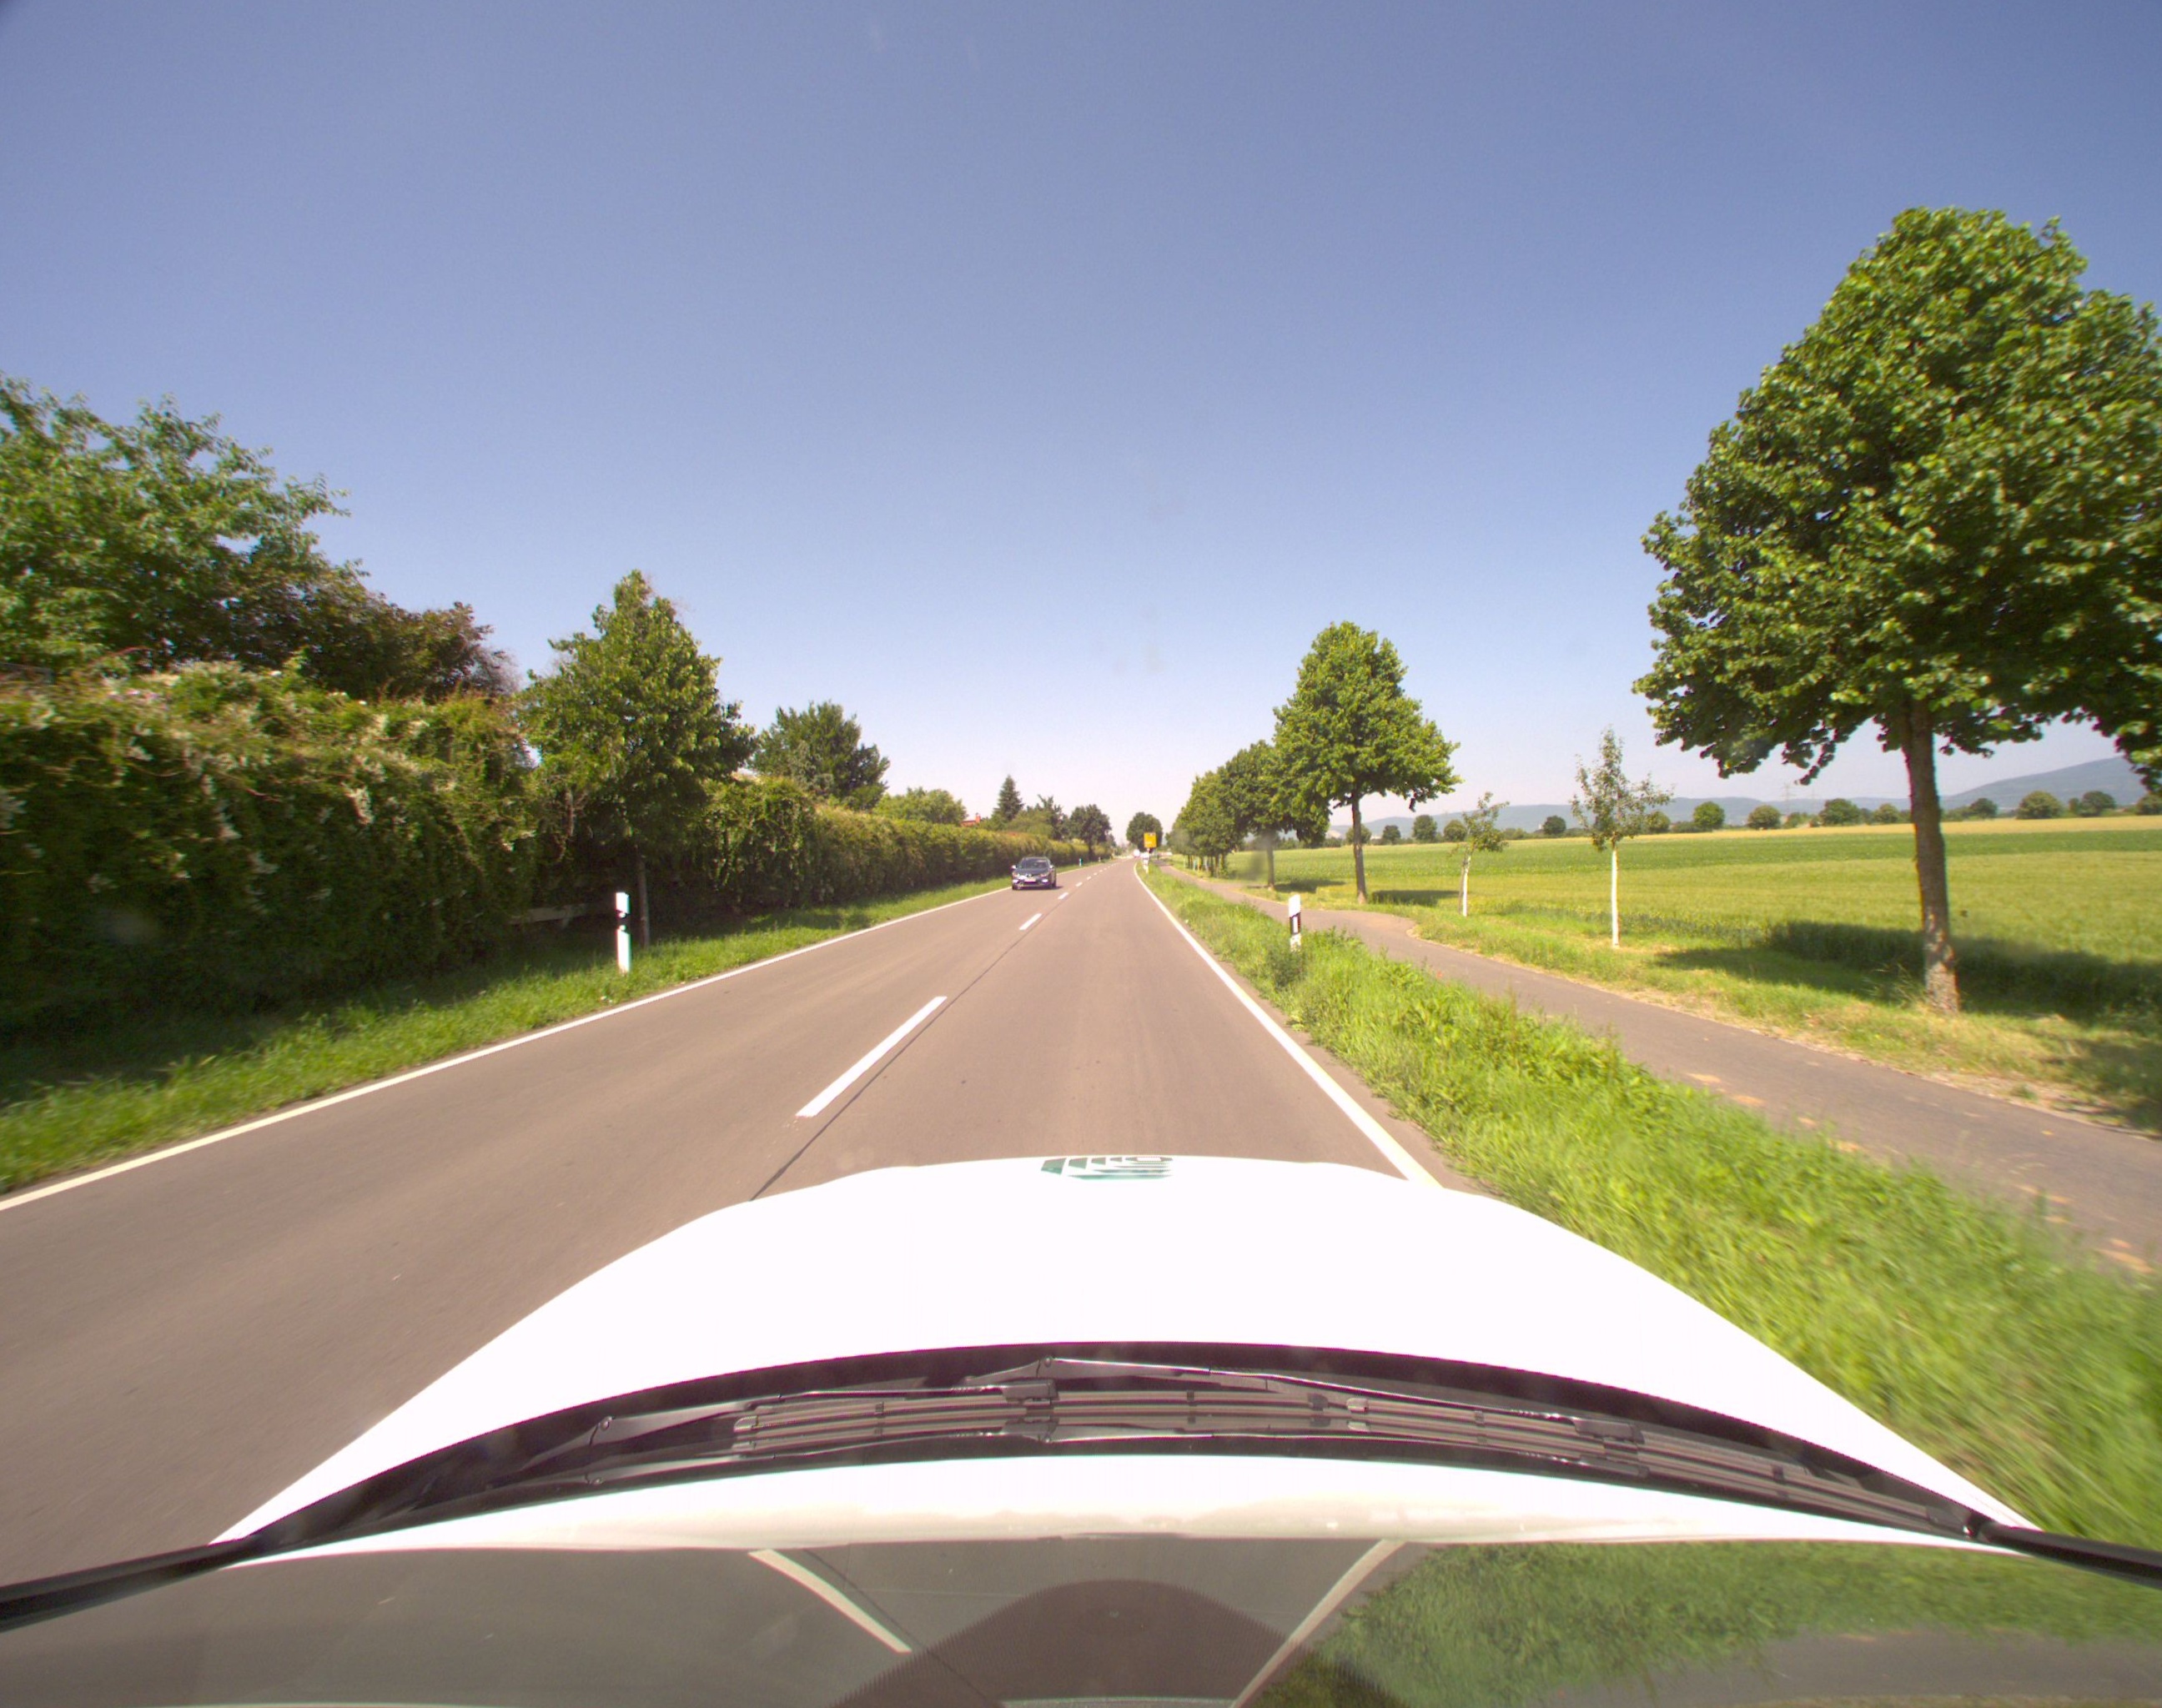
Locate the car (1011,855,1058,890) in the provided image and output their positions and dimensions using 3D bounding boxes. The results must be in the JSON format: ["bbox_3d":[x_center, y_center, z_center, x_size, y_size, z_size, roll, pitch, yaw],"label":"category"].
[{"bbox_3d":[-2.099,0.809,37.684,1.833,1.467,3.933,-2,0,1],"label":"car"}]
